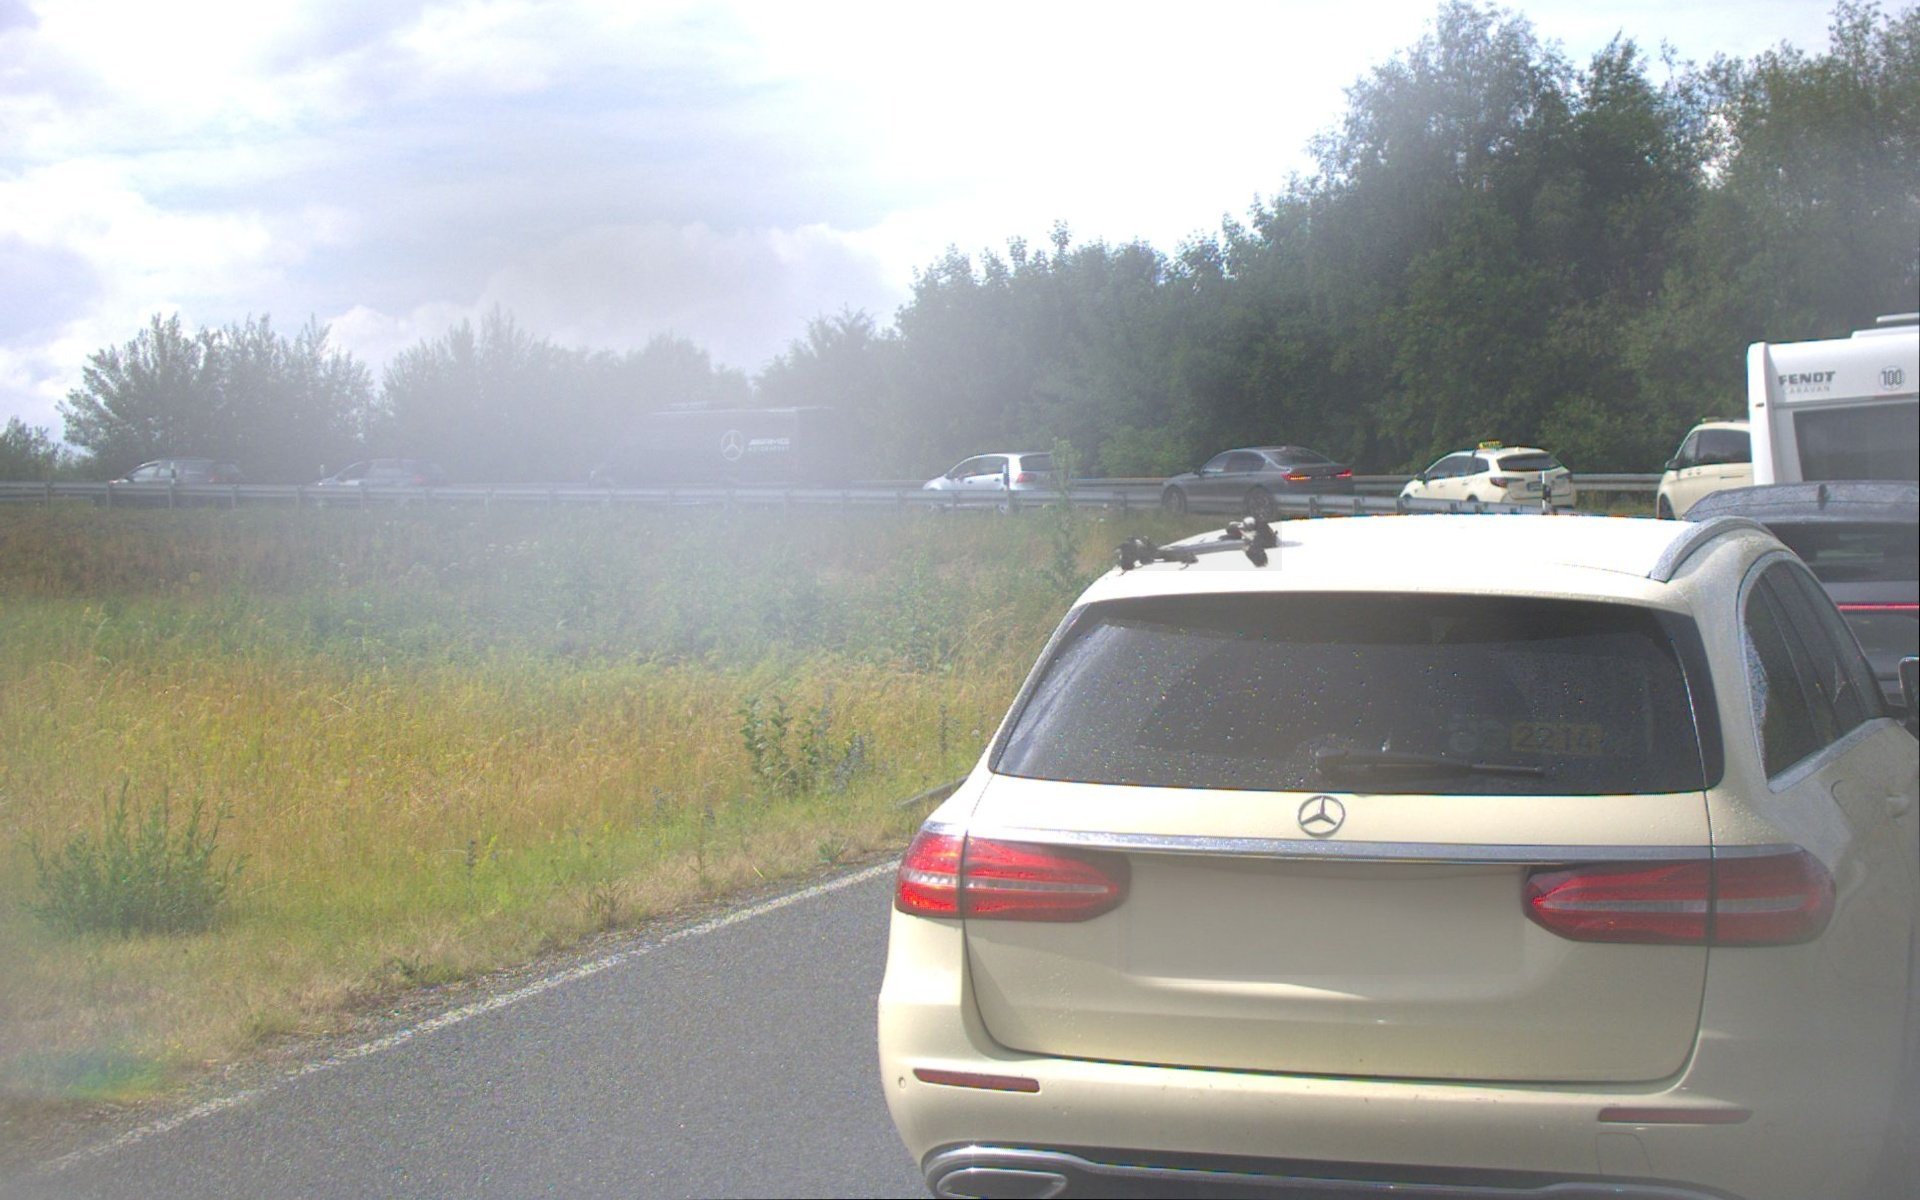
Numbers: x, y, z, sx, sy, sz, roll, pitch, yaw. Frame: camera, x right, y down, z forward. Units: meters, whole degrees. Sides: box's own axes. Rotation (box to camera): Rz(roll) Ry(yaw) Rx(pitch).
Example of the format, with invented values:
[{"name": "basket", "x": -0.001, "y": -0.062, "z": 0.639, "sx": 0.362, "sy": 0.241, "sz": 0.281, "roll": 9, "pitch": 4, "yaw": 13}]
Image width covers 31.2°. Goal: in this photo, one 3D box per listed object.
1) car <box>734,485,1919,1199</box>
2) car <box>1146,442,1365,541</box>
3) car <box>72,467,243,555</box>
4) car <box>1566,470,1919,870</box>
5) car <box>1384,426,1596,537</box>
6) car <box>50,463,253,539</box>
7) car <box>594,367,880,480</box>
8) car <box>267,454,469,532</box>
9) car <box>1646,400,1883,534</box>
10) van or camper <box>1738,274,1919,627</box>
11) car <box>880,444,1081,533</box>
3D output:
[{"name": "car", "x": 1.226, "y": 0.497, "z": 7.677, "sx": 1.918, "sy": 1.502, "sz": 4.592, "roll": 0, "pitch": 2, "yaw": 17}, {"name": "car", "x": 6.205, "y": -2.271, "z": 72.792, "sx": 1.993, "sy": 1.855, "sz": 5.057, "roll": -2, "pitch": 0, "yaw": -31}, {"name": "car", "x": -21.912, "y": -2.427, "z": 93.931, "sx": 3.992, "sy": 2.006, "sz": 1.998, "roll": -2, "pitch": 7, "yaw": 26}, {"name": "car", "x": 4.002, "y": 0.205, "z": 15.356, "sx": 1.720, "sy": 1.519, "sz": 3.996, "roll": -1, "pitch": 2, "yaw": 22}, {"name": "car", "x": 9.703, "y": -2.146, "z": 63.348, "sx": 1.993, "sy": 1.855, "sz": 5.059, "roll": -2, "pitch": 1, "yaw": -14}, {"name": "car", "x": -22.140, "y": -2.689, "z": 94.163, "sx": 5.044, "sy": 1.855, "sz": 1.998, "roll": -2, "pitch": 0, "yaw": 16}, {"name": "car", "x": -5.652, "y": -4.387, "z": 86.381, "sx": 6.976, "sy": 2.586, "sz": 2.869, "roll": 0, "pitch": 2, "yaw": 38}, {"name": "car", "x": -15.809, "y": -2.842, "z": 91.800, "sx": 5.047, "sy": 1.855, "sz": 1.997, "roll": -2, "pitch": 0, "yaw": 26}, {"name": "car", "x": 12.363, "y": -2.011, "z": 53.202, "sx": 1.993, "sy": 1.855, "sz": 5.058, "roll": -2, "pitch": 1, "yaw": -5}, {"name": "van or camper", "x": 8.321, "y": -1.288, "z": 29.352, "sx": 2.433, "sy": 2.720, "sz": 5.996, "roll": 0, "pitch": 3, "yaw": 21}, {"name": "car", "x": 0.438, "y": -2.601, "z": 80.851, "sx": 1.994, "sy": 1.855, "sz": 5.056, "roll": -2, "pitch": 0, "yaw": -37}]
